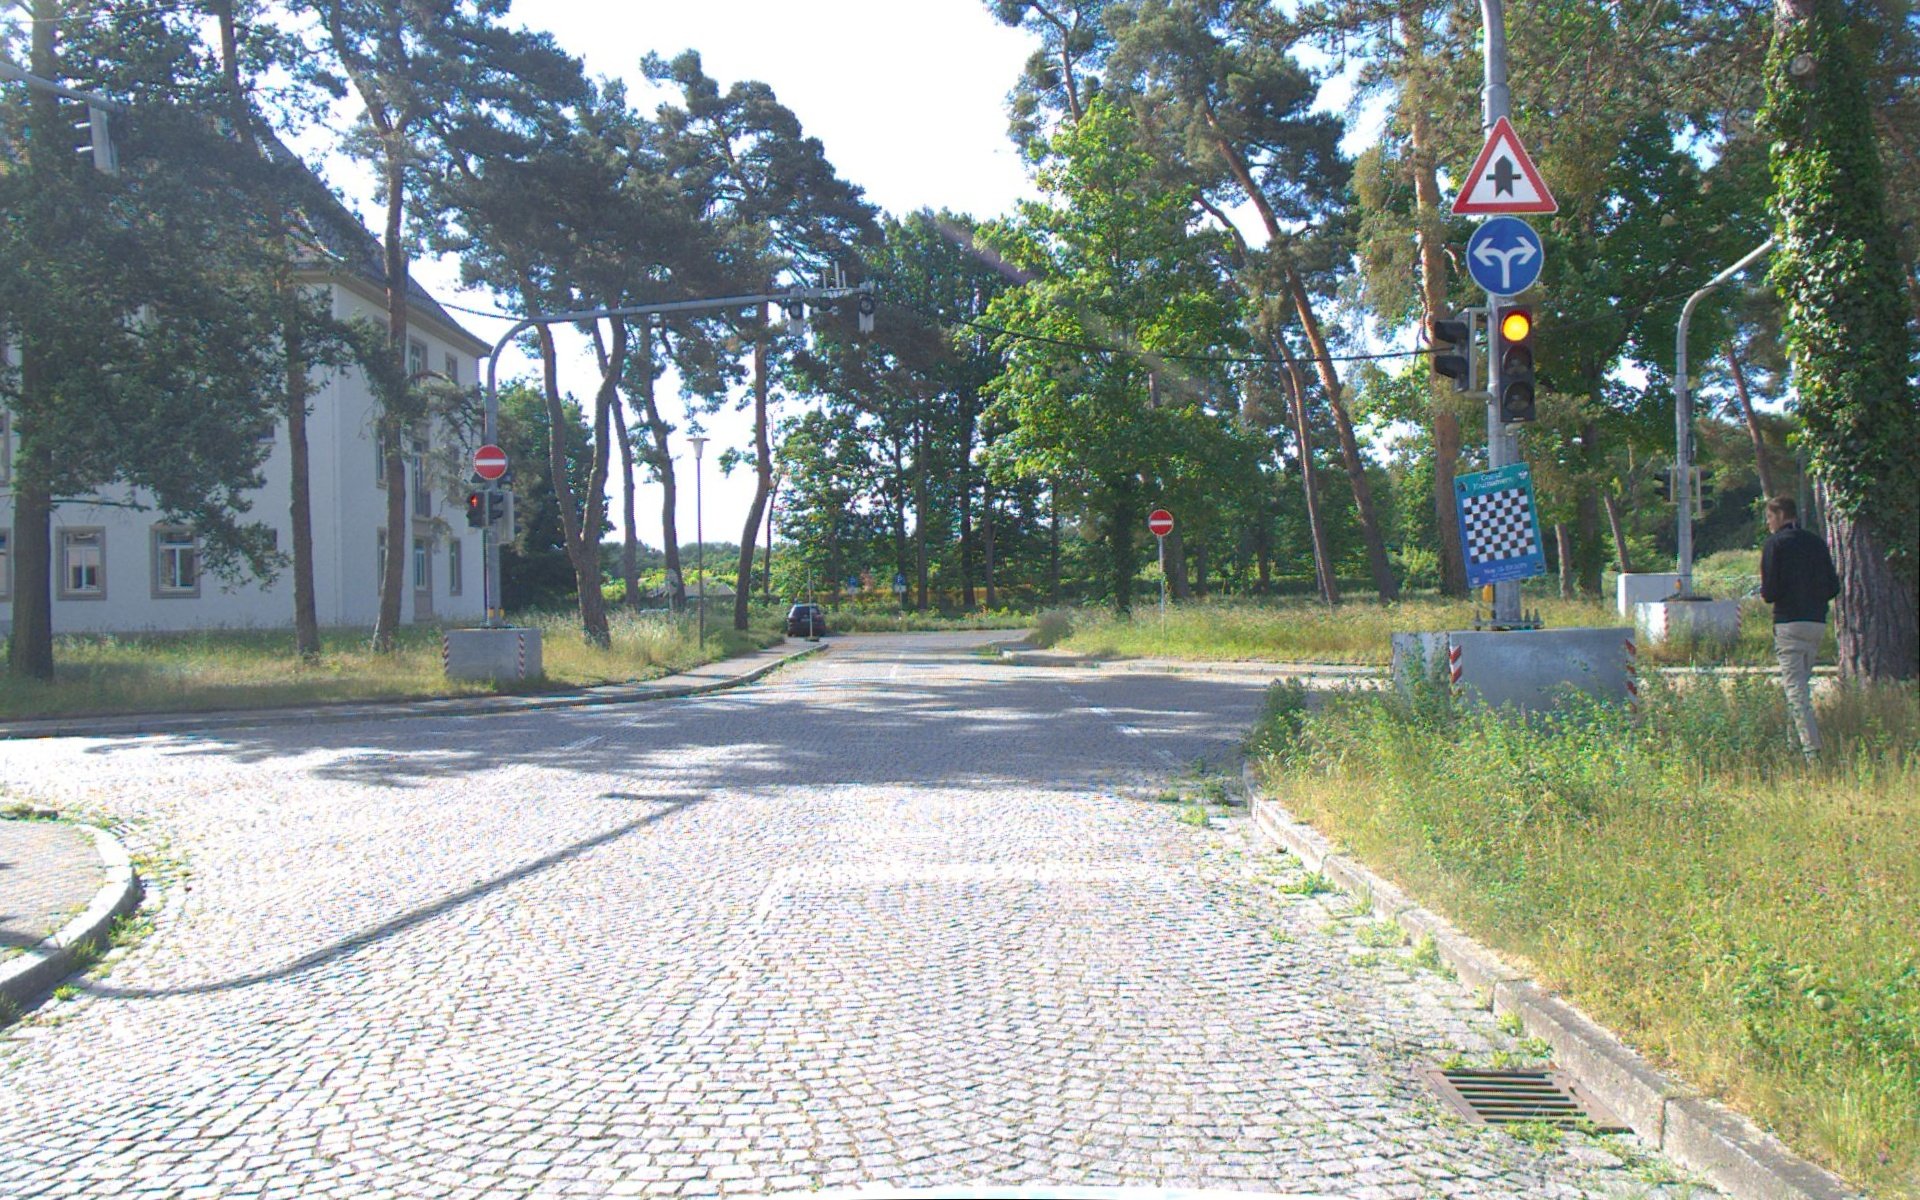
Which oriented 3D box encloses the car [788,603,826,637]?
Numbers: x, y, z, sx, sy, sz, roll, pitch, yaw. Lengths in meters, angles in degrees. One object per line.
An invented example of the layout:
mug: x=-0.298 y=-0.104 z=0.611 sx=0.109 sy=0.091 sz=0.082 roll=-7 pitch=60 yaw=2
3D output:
car: x=-7.418 y=0.943 z=80.281 sx=1.676 sy=1.522 sz=3.916 roll=-2 pitch=0 yaw=-4

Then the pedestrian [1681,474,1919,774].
pedestrian: x=5.539 y=0.143 z=10.794 sx=1.145 sy=1.827 sz=1.062 roll=-2 pitch=0 yaw=-3
